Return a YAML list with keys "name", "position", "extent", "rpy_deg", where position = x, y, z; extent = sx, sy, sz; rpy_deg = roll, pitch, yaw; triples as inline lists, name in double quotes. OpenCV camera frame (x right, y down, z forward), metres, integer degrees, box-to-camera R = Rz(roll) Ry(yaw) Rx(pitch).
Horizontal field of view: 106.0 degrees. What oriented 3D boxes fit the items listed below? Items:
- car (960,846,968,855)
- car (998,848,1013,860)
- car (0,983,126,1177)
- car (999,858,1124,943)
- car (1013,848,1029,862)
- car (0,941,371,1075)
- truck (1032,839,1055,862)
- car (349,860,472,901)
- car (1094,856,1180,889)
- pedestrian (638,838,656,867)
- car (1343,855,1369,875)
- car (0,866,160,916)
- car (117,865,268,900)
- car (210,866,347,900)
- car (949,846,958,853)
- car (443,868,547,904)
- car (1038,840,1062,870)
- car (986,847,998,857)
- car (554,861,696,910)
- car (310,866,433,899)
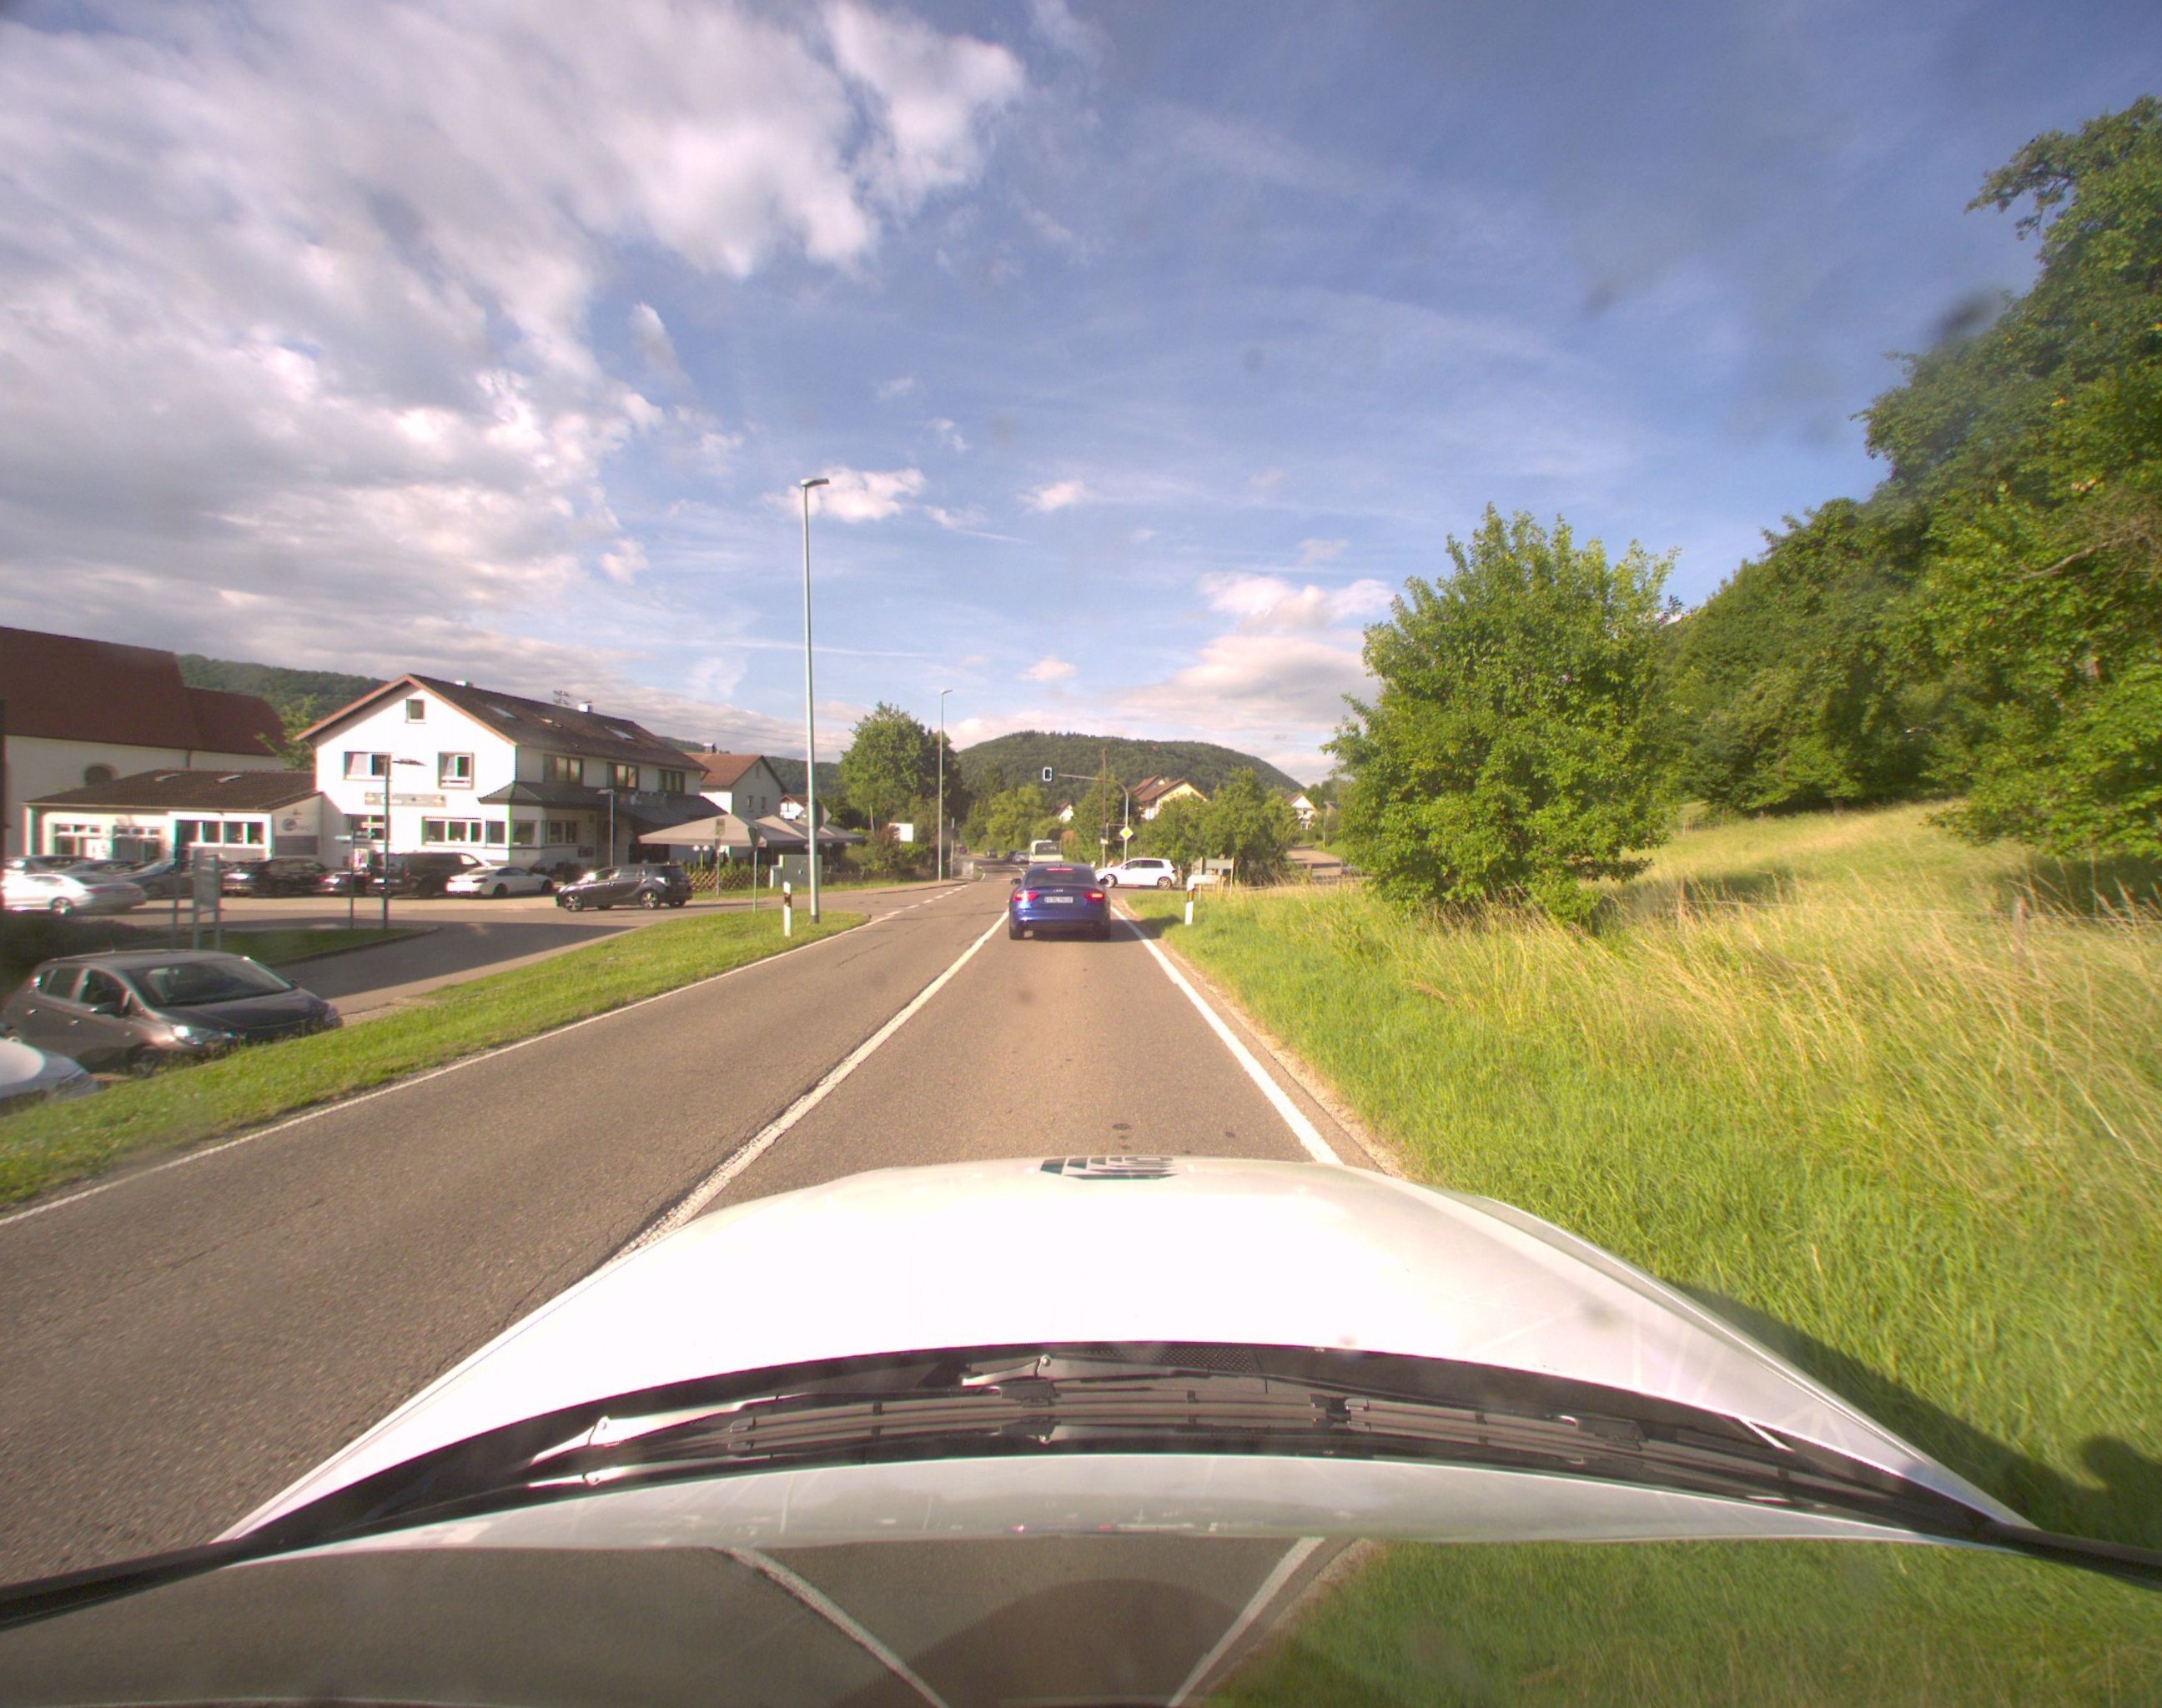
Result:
- name: "car"
  position: [-22.971, -0.682, 159.991]
  extent: [1.624, 1.576, 3.670]
  rpy_deg: [0, -1, -7]
- name: "car"
  position: [-9.682, 0.009, 104.480]
  extent: [1.698, 1.490, 3.514]
  rpy_deg: [0, -1, -10]
- name: "car"
  position: [-11.757, 2.051, 7.491]
  extent: [4.779, 1.493, 1.888]
  rpy_deg: [0, -1, 14]
- name: "car"
  position: [-0.229, 0.818, 15.654]
  extent: [1.786, 1.388, 4.008]
  rpy_deg: [-1, -1, 7]
- name: "car"
  position: [-6.861, 0.150, 92.800]
  extent: [1.696, 1.490, 3.518]
  rpy_deg: [0, -1, -7]
- name: "car"
  position: [-11.629, 1.866, 10.369]
  extent: [3.962, 1.310, 1.766]
  rpy_deg: [-1, -1, 10]
- name: "truck"
  position: [-3.520, -0.301, 74.967]
  extent: [1.696, 1.953, 5.908]
  rpy_deg: [0, -1, -6]
- name: "car"
  position: [-28.829, 1.105, 35.195]
  extent: [1.879, 1.662, 4.002]
  rpy_deg: [-1, -1, 2]
- name: "car"
  position: [2.638, 0.882, 39.161]
  extent: [4.030, 1.508, 1.855]
  rpy_deg: [0, -1, 0]
- name: "pedestrian"
  position: [-22.782, -0.056, 42.727]
  extent: [0.606, 1.503, 0.590]
  rpy_deg: [0, -1, 2]
- name: "car"
  position: [19.425, 0.792, 57.699]
  extent: [1.610, 1.390, 4.017]
  rpy_deg: [-1, -1, 17]
- name: "car"
  position: [-34.858, 1.238, 27.949]
  extent: [4.433, 1.639, 1.811]
  rpy_deg: [0, -1, 1]
- name: "car"
  position: [-37.447, 1.167, 34.493]
  extent: [1.833, 1.354, 4.003]
  rpy_deg: [-1, -1, 3]
- name: "car"
  position: [-34.255, 1.187, 34.926]
  extent: [1.834, 1.354, 4.001]
  rpy_deg: [0, -1, 2]
- name: "car"
  position: [-26.836, -0.934, 171.202]
  extent: [1.686, 1.438, 3.664]
  rpy_deg: [0, -1, -4]
- name: "car"
  position: [-25.580, 1.370, 35.718]
  extent: [1.549, 1.450, 4.002]
  rpy_deg: [-1, -1, 2]
- name: "car"
  position: [-2.313, 0.089, 61.655]
  extent: [1.741, 2.195, 3.997]
  rpy_deg: [0, -1, -1]
- name: "car"
  position: [-13.568, -0.242, 123.743]
  extent: [1.694, 1.490, 3.521]
  rpy_deg: [0, -1, -4]
- name: "car"
  position: [-15.947, 1.094, 28.611]
  extent: [3.974, 1.639, 1.751]
  rpy_deg: [0, -1, -1]
- name: "car"
  position: [-31.192, 1.236, 35.977]
  extent: [1.834, 1.354, 4.001]
  rpy_deg: [0, -1, 2]
